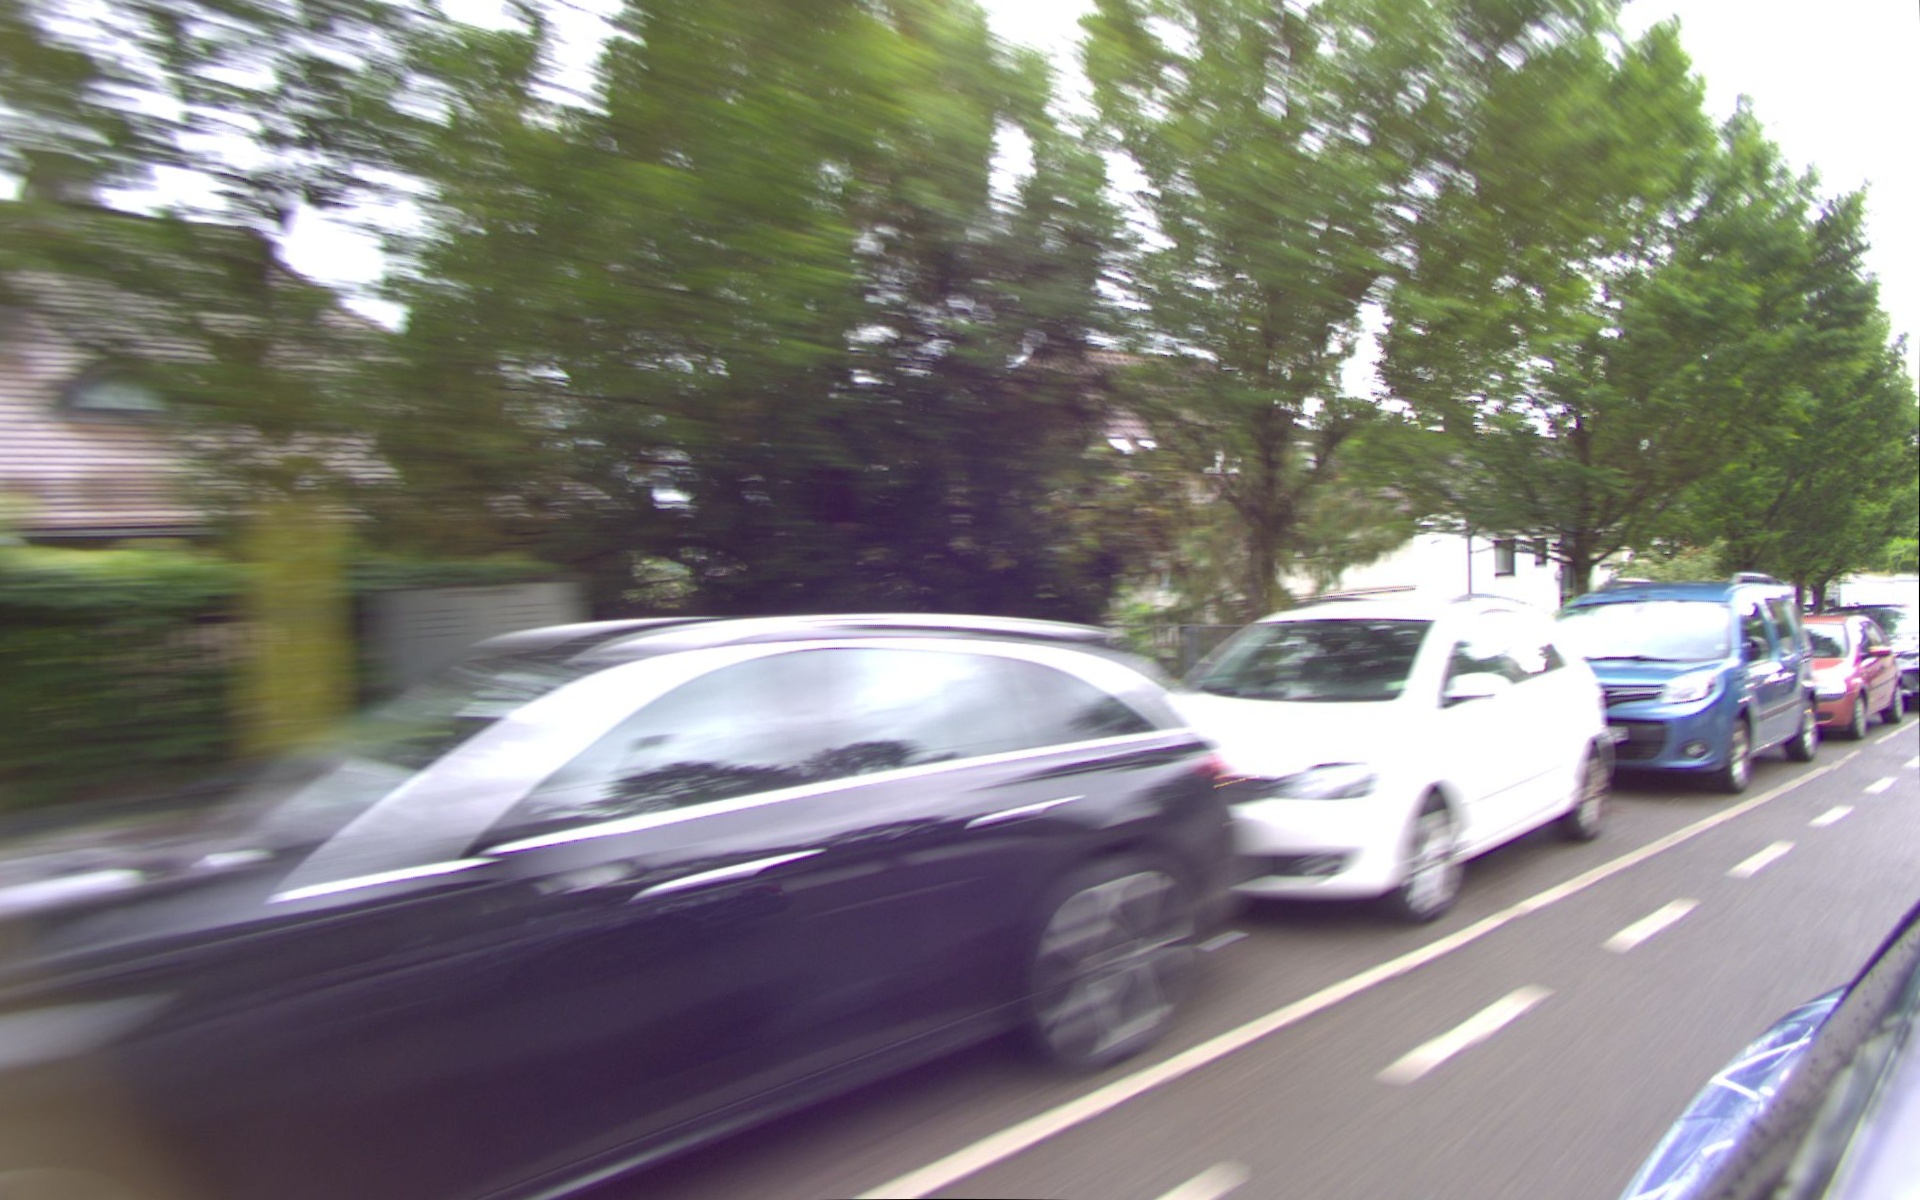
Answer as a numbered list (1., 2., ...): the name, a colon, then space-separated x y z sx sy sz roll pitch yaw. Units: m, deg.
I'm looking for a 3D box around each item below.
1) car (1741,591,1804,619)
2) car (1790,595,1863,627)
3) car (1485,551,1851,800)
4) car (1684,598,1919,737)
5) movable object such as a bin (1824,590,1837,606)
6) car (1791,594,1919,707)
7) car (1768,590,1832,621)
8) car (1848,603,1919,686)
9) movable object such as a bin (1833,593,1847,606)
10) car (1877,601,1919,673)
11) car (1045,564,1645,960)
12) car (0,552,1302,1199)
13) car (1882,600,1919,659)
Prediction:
1. car: 50.854 0.296 63.436 1.840 1.601 4.818 -2 -1 24
2. car: 45.446 0.537 53.189 1.851 1.488 5.004 -5 -2 29
3. car: 6.922 0.595 9.717 4.346 1.876 1.781 0 -2 -40
4. car: 10.918 0.763 12.941 3.947 1.501 1.652 -1 -2 -39
5. movable object such as a bin: 67.395 -0.146 78.323 0.589 1.161 0.529 -3 -1 -30
6. car: 14.709 0.728 15.961 4.091 1.576 1.716 0 -3 -41
7. car: 48.229 0.277 58.217 2.044 1.677 5.176 -2 -1 32
8. car: 18.606 0.805 19.582 4.215 1.442 1.644 -1 -3 -43
9. movable object such as a bin: 67.675 -0.038 77.805 0.589 1.005 0.610 -2 -2 -30
10. car: 23.192 0.809 24.016 4.650 1.573 1.776 -1 -3 -44
11. car: 2.597 0.687 6.265 4.152 1.630 1.785 0 -2 -43
12. car: -1.172 0.732 3.106 4.763 1.557 1.997 0 -2 -40
13. car: 27.262 0.793 28.594 1.652 1.539 3.939 -4 -2 42
